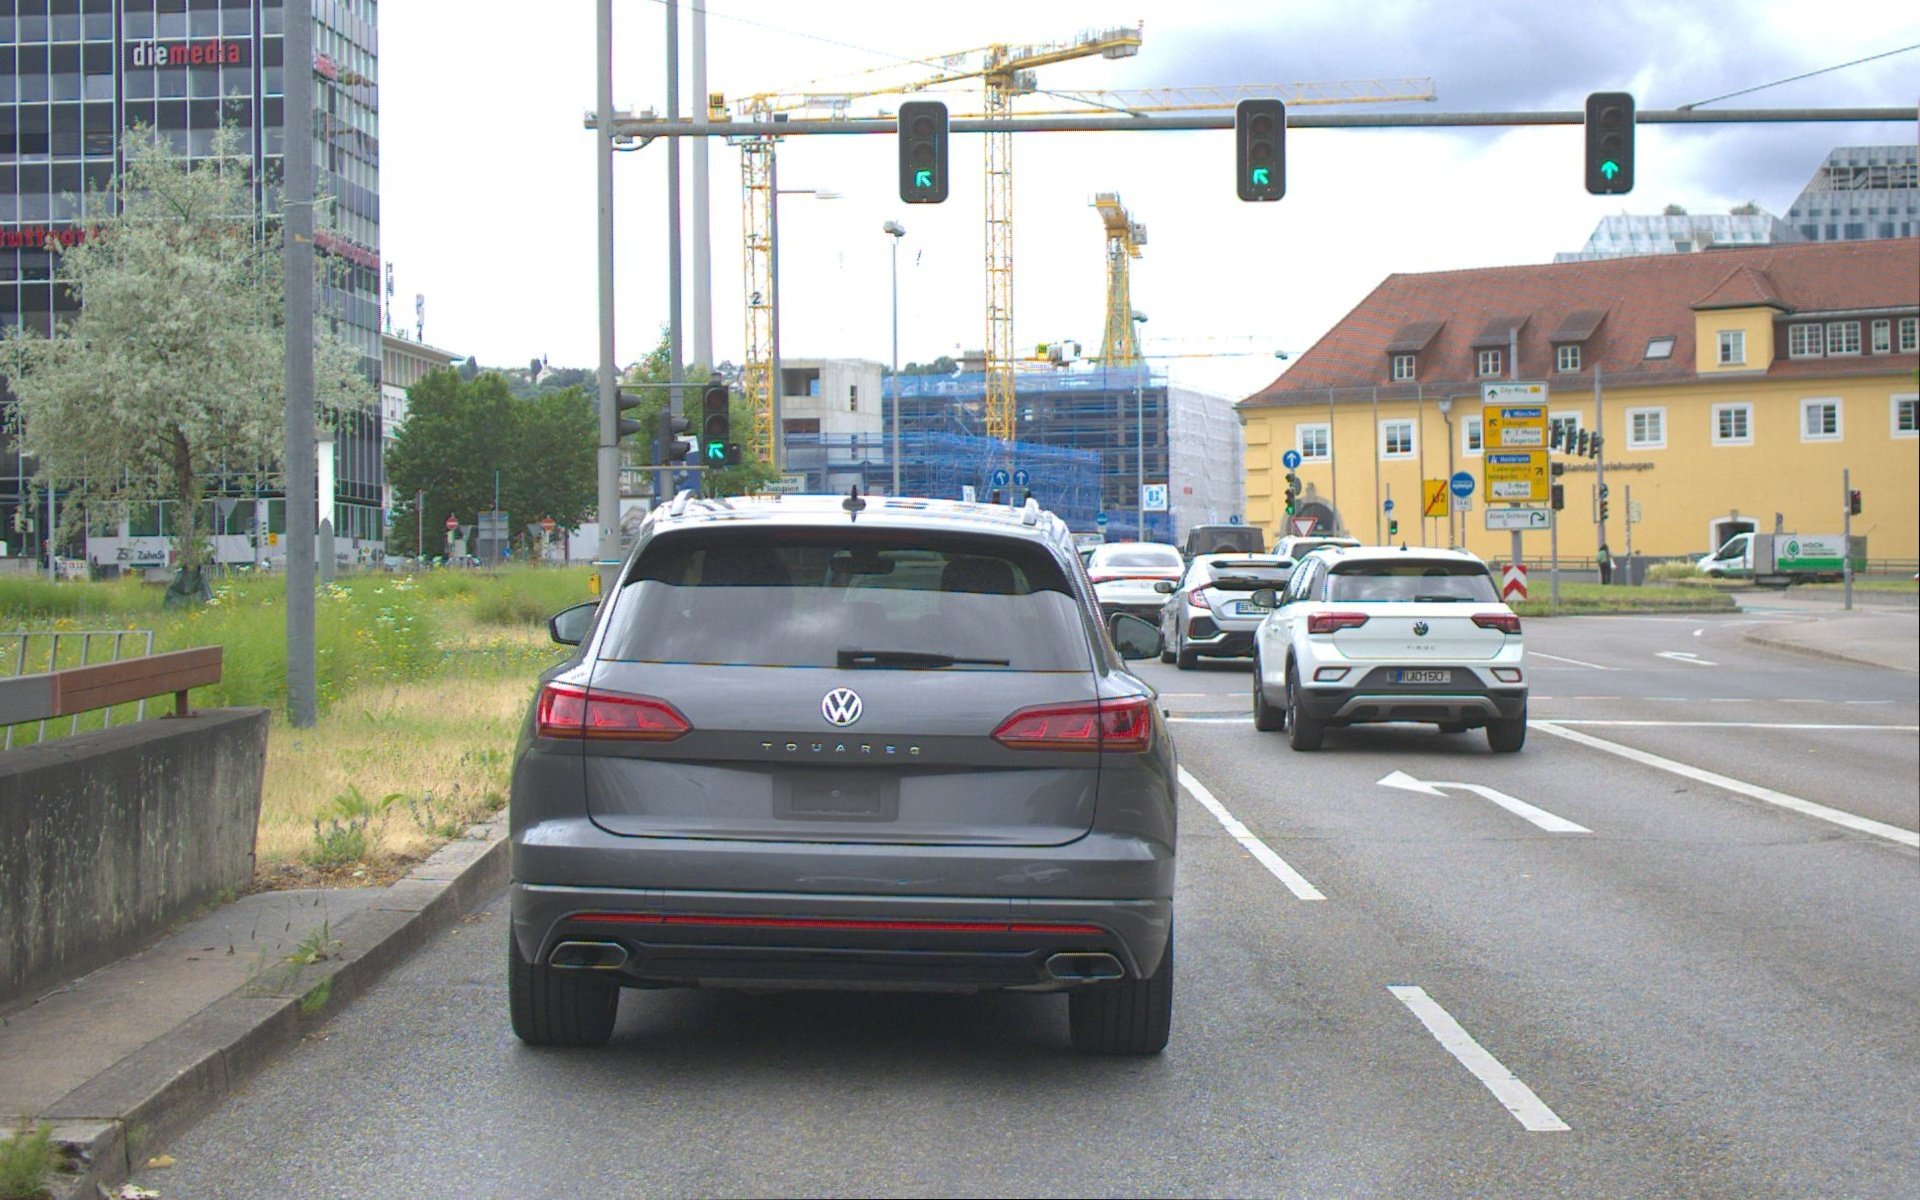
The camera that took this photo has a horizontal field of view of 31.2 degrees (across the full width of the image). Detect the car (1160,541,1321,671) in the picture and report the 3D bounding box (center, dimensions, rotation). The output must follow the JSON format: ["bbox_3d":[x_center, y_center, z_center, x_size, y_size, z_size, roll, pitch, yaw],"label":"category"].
[{"bbox_3d":[3.421,0.039,42.534,1.719,1.497,4.144,0,1,1],"label":"car"}]

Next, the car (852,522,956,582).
[{"bbox_3d":[-1.491,-1.267,89.077,2.244,1.497,4.612,0,1,-6],"label":"car"}]

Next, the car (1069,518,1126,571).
[{"bbox_3d":[5.248,-2.146,131.680,1.993,2.007,4.000,0,1,0],"label":"car"}]

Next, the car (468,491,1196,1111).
[{"bbox_3d":[-0.351,0.493,11.173,1.933,1.641,4.000,0,1,0],"label":"car"}]

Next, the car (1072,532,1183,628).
[{"bbox_3d":[2.784,-0.355,56.468,1.719,1.497,3.981,0,1,4],"label":"car"}]

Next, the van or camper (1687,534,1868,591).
[{"bbox_3d":[29.442,-1.346,123.911,6.017,2.007,2.015,1,1,36],"label":"van or camper"}]

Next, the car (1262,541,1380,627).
[{"bbox_3d":[6.555,-0.314,62.763,1.803,1.497,3.981,0,1,1],"label":"car"}]

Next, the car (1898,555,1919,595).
[{"bbox_3d":[35.288,-0.865,119.912,4.686,1.416,1.594,1,1,32],"label":"car"}]

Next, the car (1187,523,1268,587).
[{"bbox_3d":[6.482,-1.111,83.716,1.719,1.497,3.981,0,1,1],"label":"car"}]

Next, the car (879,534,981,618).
[{"bbox_3d":[-0.544,-0.472,63.621,1.814,1.491,3.906,0,1,0],"label":"car"}]

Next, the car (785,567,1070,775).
[{"bbox_3d":[-0.234,0.478,26.087,1.993,1.382,4.000,0,2,0],"label":"car"}]

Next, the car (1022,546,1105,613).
[{"bbox_3d":[2.701,-0.542,90.807,2.139,1.722,4.070,0,1,1],"label":"car"}]

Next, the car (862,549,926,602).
[{"bbox_3d":[-1.924,-0.734,101.251,1.719,1.497,3.981,0,1,1],"label":"car"}]

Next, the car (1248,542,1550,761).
[{"bbox_3d":[3.390,0.346,27.191,1.893,1.580,3.801,0,1,0],"label":"car"}]
